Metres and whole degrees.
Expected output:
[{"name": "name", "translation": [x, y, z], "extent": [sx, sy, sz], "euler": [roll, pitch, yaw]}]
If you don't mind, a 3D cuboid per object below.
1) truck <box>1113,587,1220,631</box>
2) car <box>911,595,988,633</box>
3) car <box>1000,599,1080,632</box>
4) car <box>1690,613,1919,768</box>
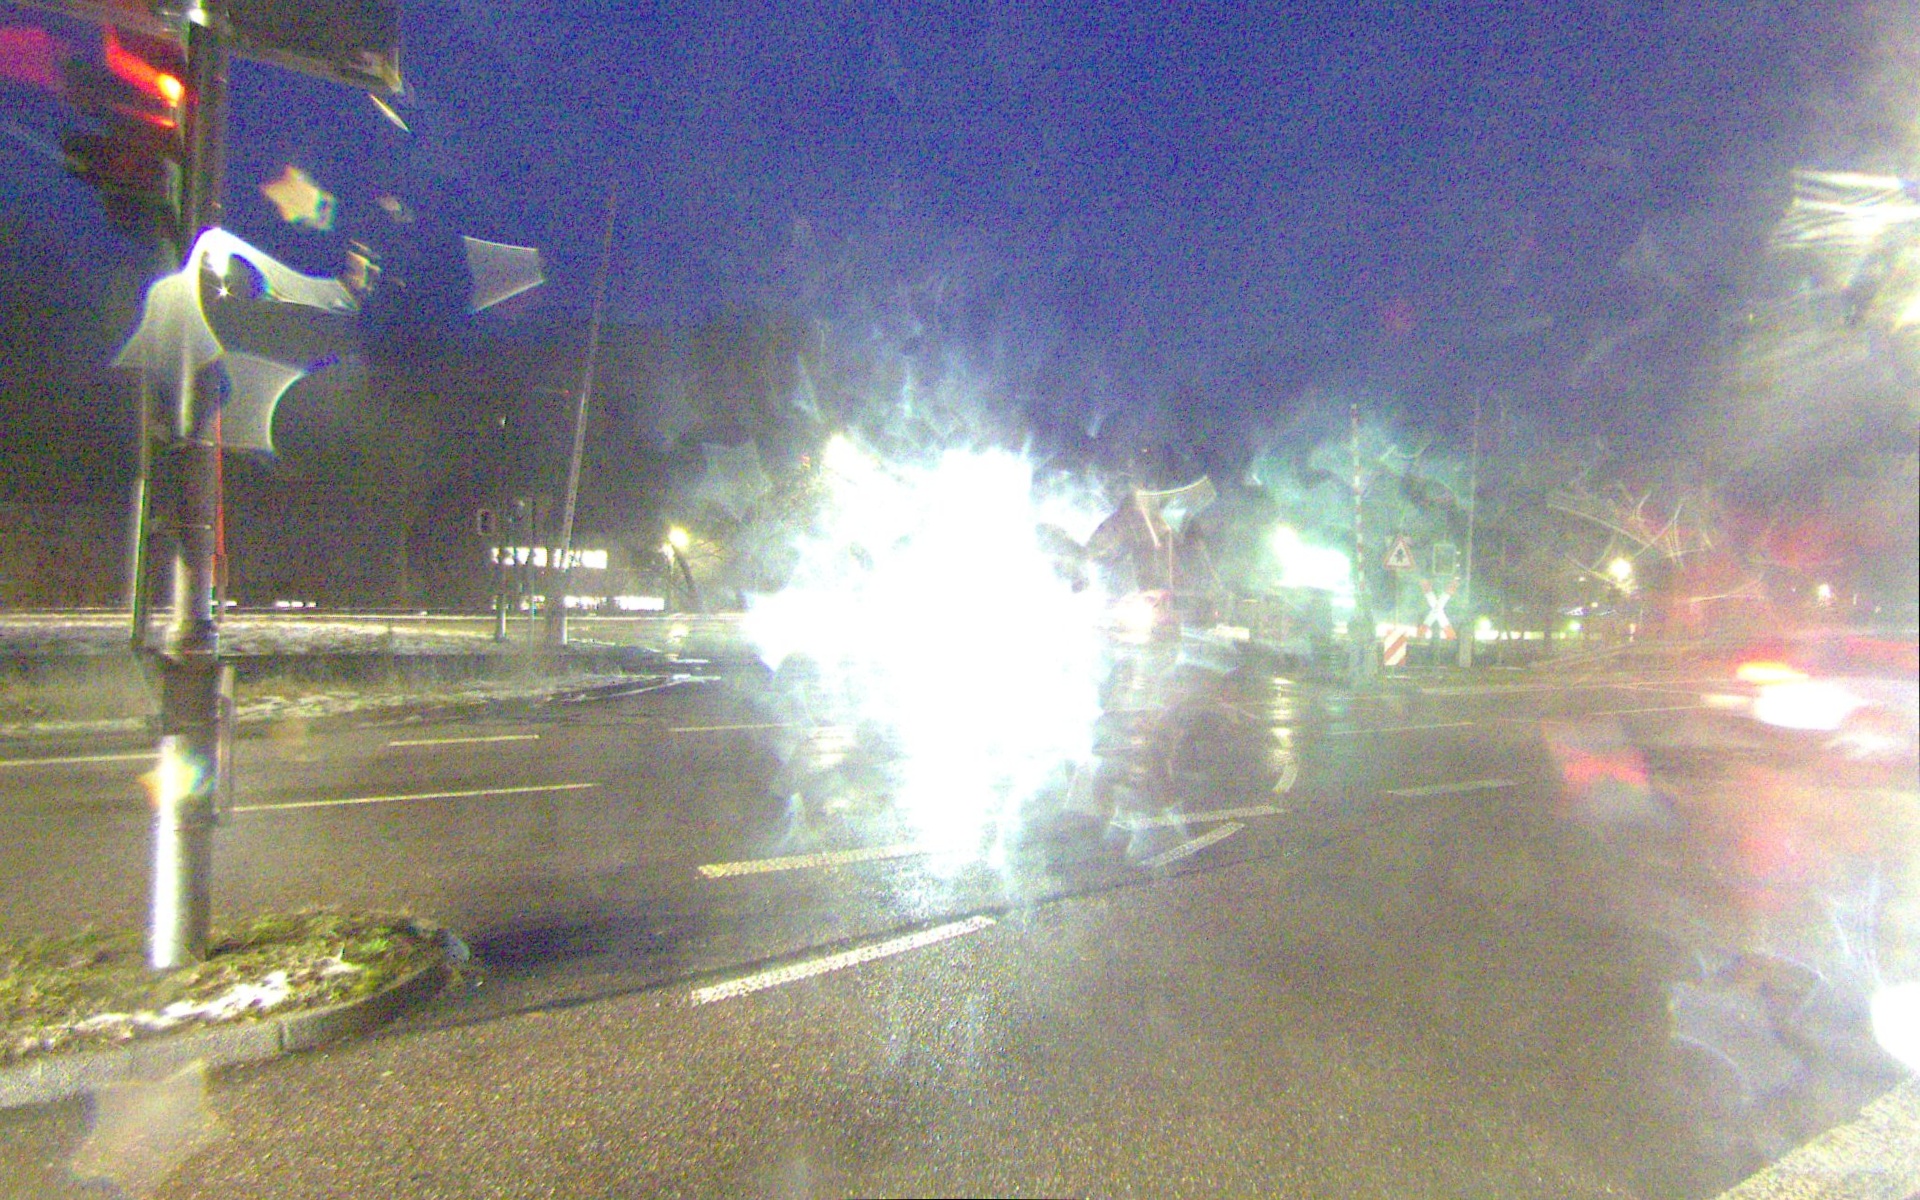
[{"name": "truck", "translation": [11.541, 0.526, 55.988], "extent": [5.945, 2.302, 1.985], "euler": [2, 0, -28]}, {"name": "car", "translation": [-0.420, 0.620, 43.964], "extent": [1.695, 1.539, 3.995], "euler": [2, 0, 27]}, {"name": "car", "translation": [4.043, 0.799, 50.700], "extent": [3.968, 1.539, 1.707], "euler": [2, 0, -41]}, {"name": "car", "translation": [10.557, 0.944, 10.649], "extent": [4.288, 1.538, 1.516], "euler": [1, 0, 21]}]
